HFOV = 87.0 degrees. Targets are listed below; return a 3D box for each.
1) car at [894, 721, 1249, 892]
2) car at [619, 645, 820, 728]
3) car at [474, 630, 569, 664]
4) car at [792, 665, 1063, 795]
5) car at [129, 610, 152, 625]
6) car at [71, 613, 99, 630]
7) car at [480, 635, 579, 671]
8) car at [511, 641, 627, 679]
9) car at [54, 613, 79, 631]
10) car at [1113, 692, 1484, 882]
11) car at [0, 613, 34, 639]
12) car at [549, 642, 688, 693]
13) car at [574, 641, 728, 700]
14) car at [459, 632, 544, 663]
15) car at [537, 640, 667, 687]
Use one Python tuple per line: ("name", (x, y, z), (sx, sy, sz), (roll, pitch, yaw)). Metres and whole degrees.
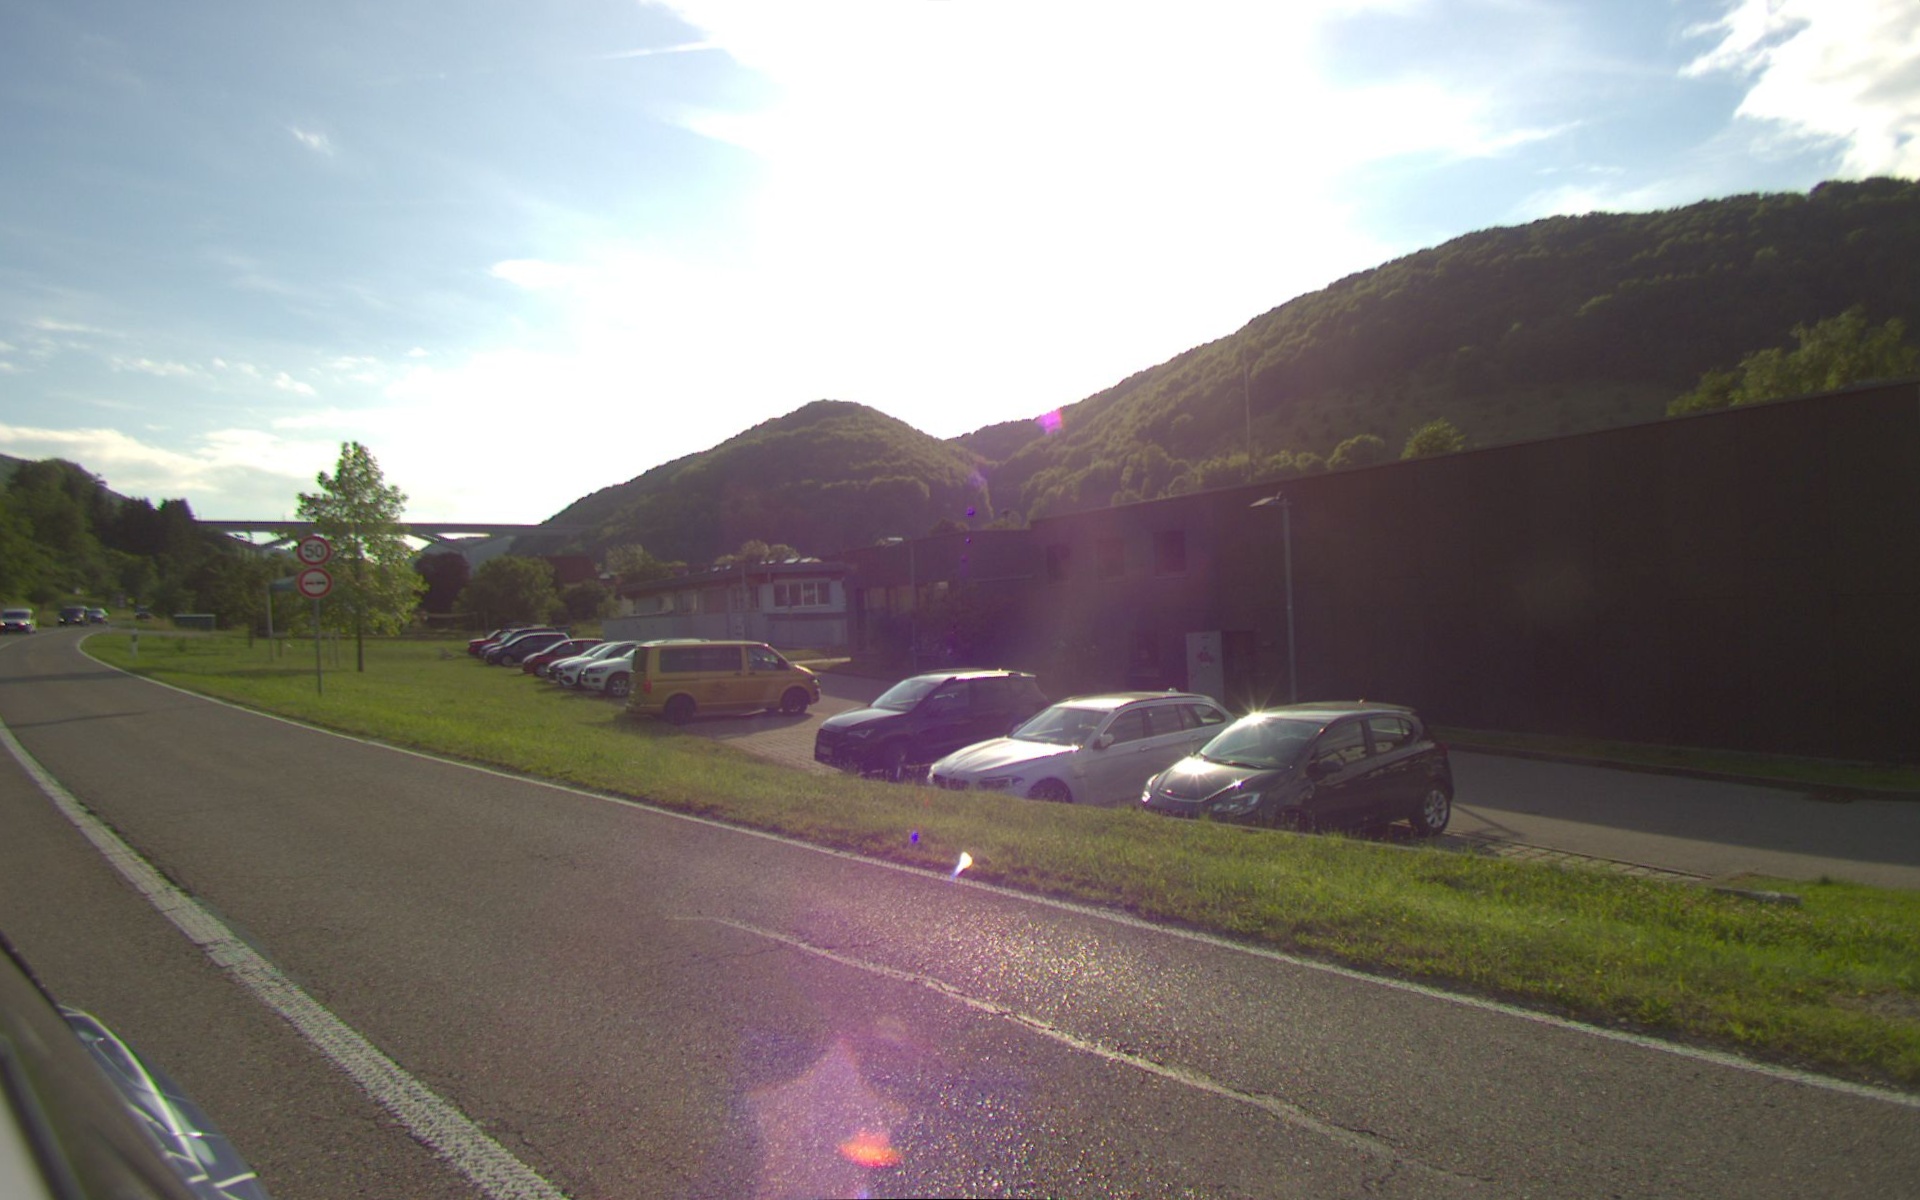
("car", (1.575, 2.589, 13.560), (4.577, 1.508, 1.918), (1, -2, -34))
("car", (-6.080, 2.111, 25.666), (4.583, 1.827, 2.006), (0, -2, -30))
("car", (-24.188, 2.549, 55.904), (4.595, 1.776, 2.006), (0, -2, -31))
("car", (-0.497, 2.090, 17.254), (4.226, 1.650, 1.917), (-2, -1, -35))
("car", (-108.455, 2.293, 133.992), (1.880, 1.918, 4.012), (0, 0, -32))
("car", (-93.221, 2.284, 107.852), (1.967, 1.730, 4.009), (-1, -1, -36))
("car", (-21.943, 2.671, 51.631), (4.371, 1.595, 2.006), (-1, -1, -31))
("car", (-16.593, 2.510, 43.006), (4.370, 1.463, 2.006), (0, -2, -30))
("car", (-85.395, 2.125, 96.719), (1.653, 1.659, 3.352), (-2, -1, -39))
("car", (3.852, 1.934, 11.394), (3.932, 1.546, 1.839), (0, -2, -31))
("car", (-67.718, 1.878, 72.382), (1.771, 1.749, 4.292), (-1, -1, -37))
("car", (-12.090, 2.342, 35.888), (4.370, 1.599, 2.006), (0, -2, -30))
("car", (-10.068, 2.247, 33.017), (4.477, 1.714, 2.006), (0, -2, -30))
("car", (-27.294, 2.787, 60.239), (4.371, 1.733, 2.006), (0, -2, -31))
("car", (-13.716, 2.392, 38.857), (4.371, 1.595, 2.006), (0, -2, -32))
